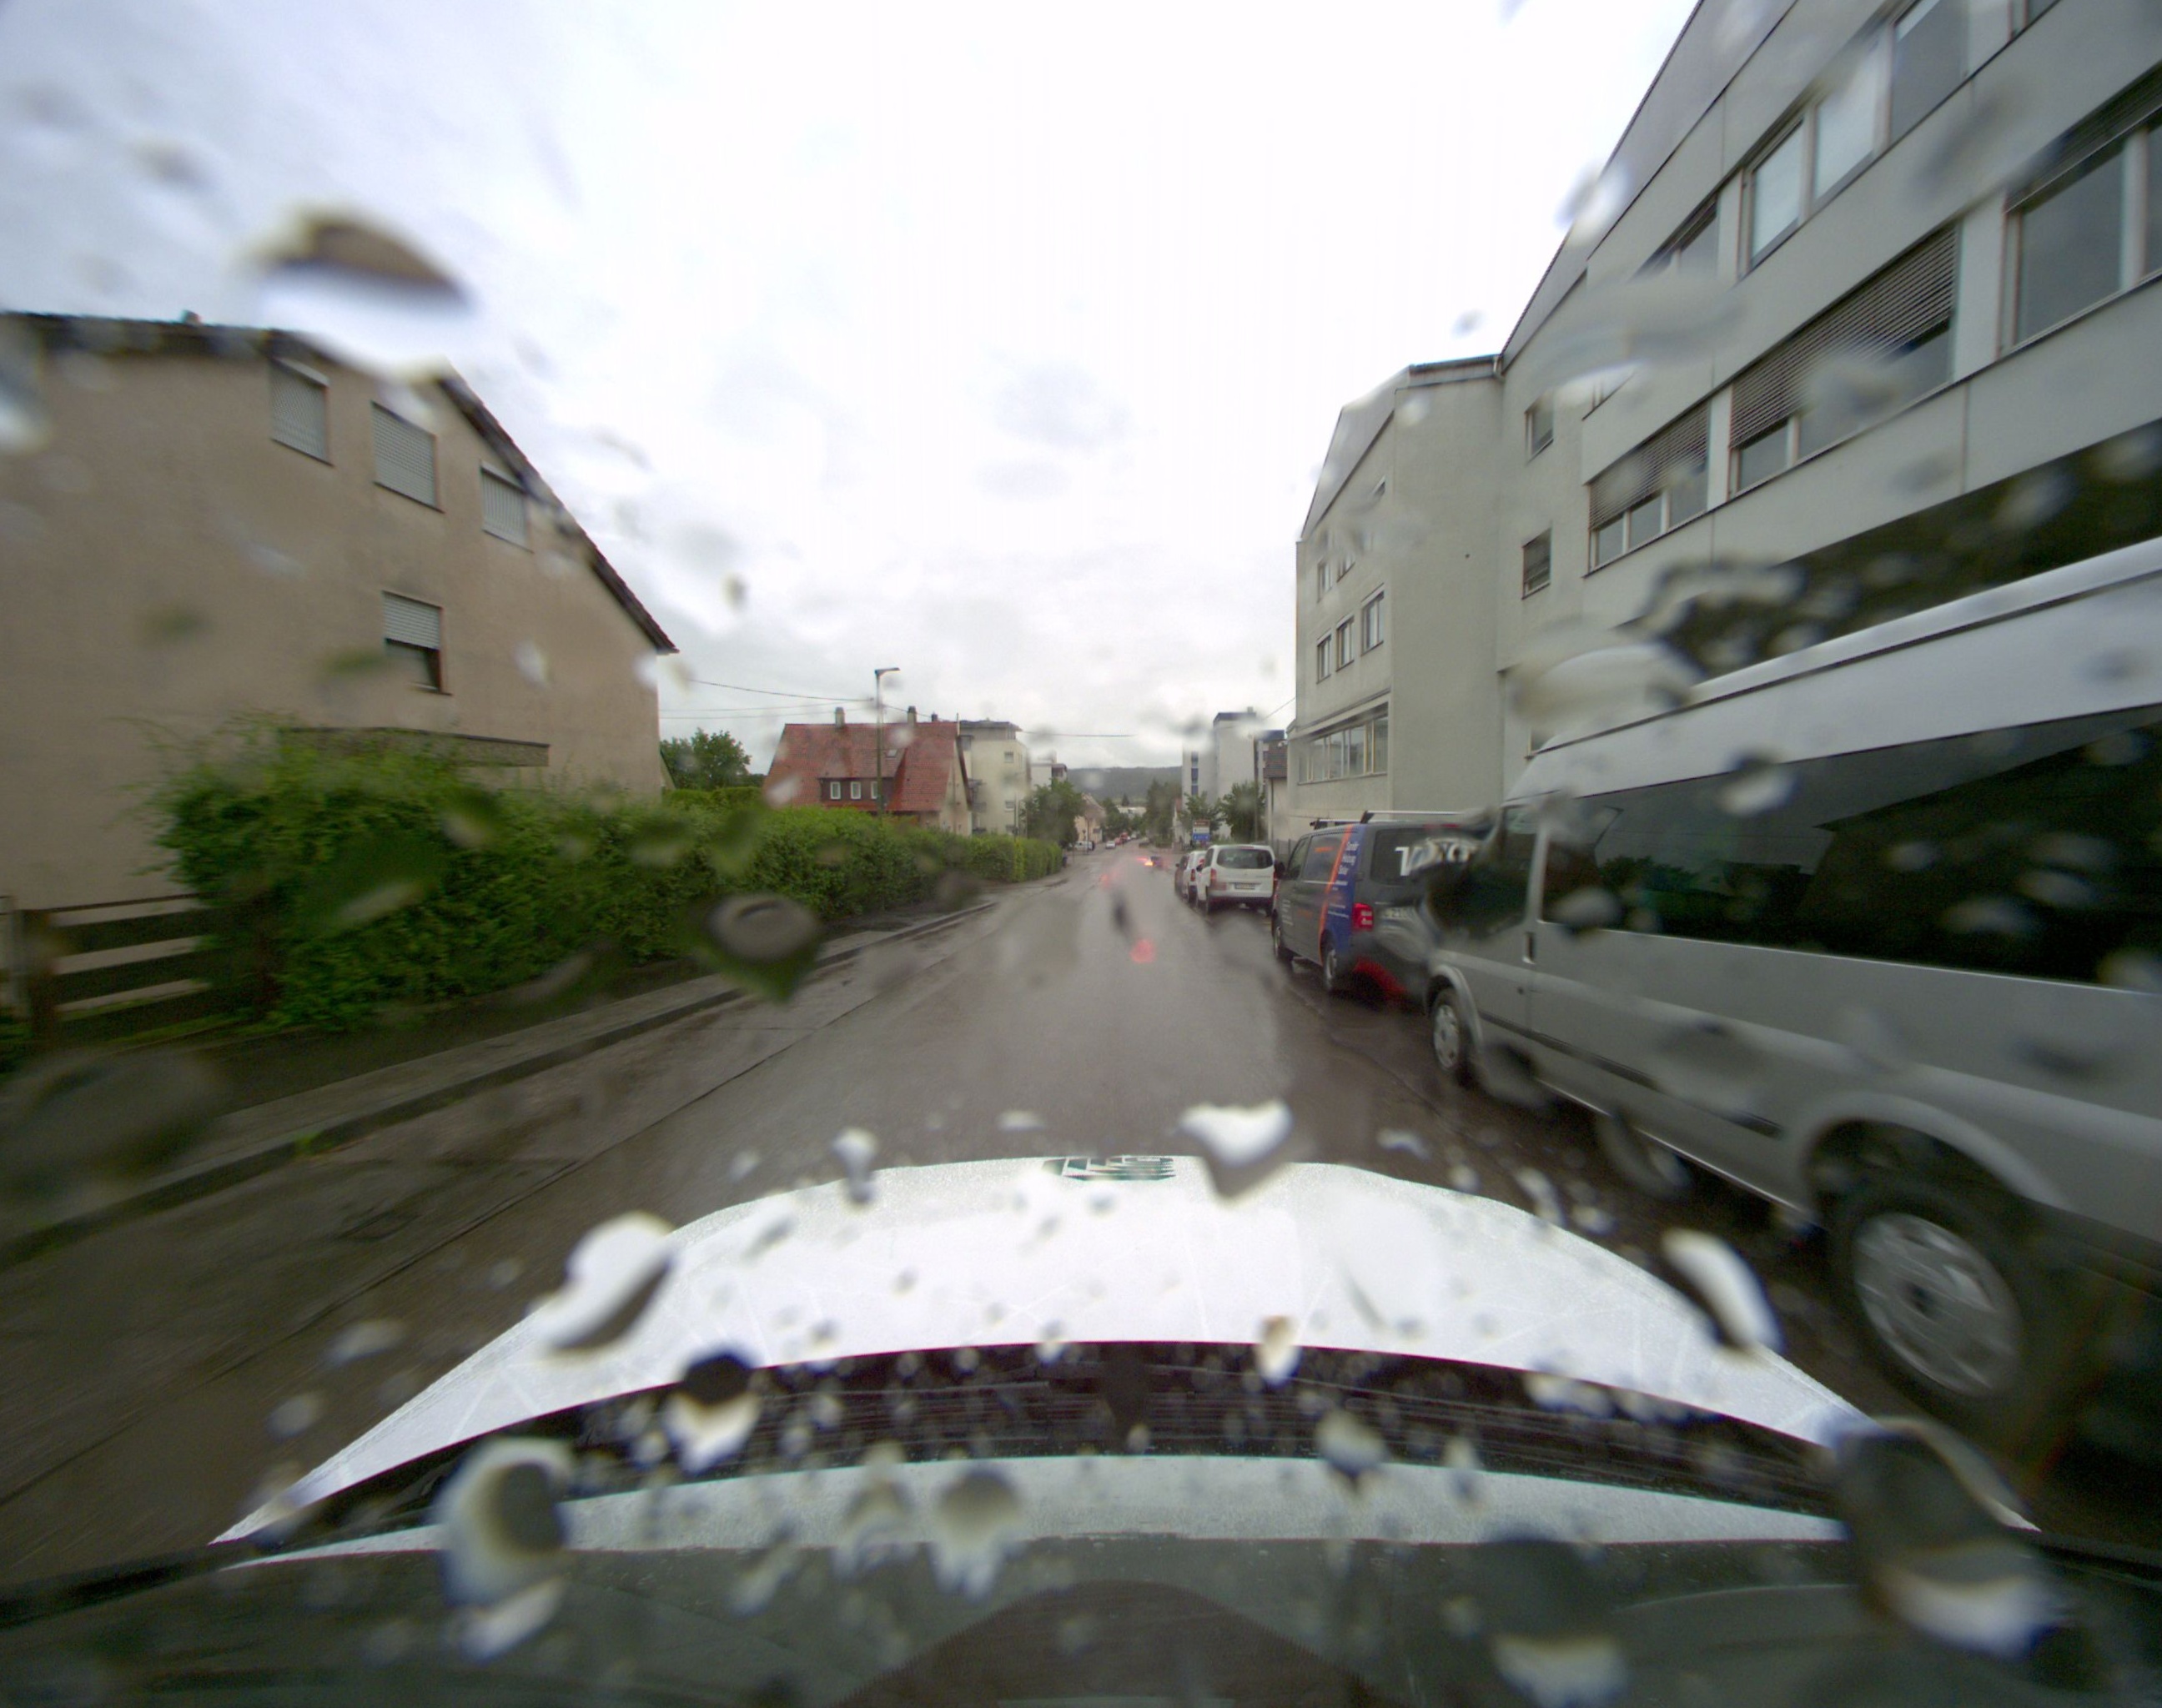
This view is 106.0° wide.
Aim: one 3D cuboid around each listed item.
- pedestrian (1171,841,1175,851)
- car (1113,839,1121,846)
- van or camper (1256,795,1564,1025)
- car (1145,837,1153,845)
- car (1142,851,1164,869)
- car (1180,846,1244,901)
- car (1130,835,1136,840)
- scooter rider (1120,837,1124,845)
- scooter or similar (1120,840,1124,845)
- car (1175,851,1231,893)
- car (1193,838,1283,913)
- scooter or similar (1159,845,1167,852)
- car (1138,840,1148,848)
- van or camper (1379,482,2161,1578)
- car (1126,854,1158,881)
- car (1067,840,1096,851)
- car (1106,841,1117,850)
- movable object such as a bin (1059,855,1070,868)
[{"bbox_3d":[15.527,-1.325,137.658,0.645,1.647,0.525,2,1,-3],"label":"pedestrian"},{"bbox_3d":[8.919,-2.902,202.767,1.893,1.558,4.197,-2,1,4],"label":"car"},{"bbox_3d":[3.639,0.509,10.242,1.985,2.113,5.207,-1,0,3],"label":"van or camper"},{"bbox_3d":[16.802,-3.238,201.406,1.893,1.745,4.197,-2,1,4],"label":"car"},{"bbox_3d":[7.397,0.572,84.030,1.986,1.683,4.002,-2,2,2],"label":"car"},{"bbox_3d":[4.646,0.654,29.455,1.870,1.833,4.494,-1,0,4],"label":"car"},{"bbox_3d":[16.213,-5.022,252.721,1.893,1.558,4.197,-2,1,4],"label":"car"},{"bbox_3d":[9.491,-3.012,187.459,0.749,1.795,0.673,-2,1,4],"label":"scooter rider"},{"bbox_3d":[9.514,-2.568,187.539,0.753,1.171,1.316,-2,1,5],"label":"scooter or similar"},{"bbox_3d":[5.117,0.724,34.777,1.985,1.644,4.964,-1,0,4],"label":"car"},{"bbox_3d":[4.433,0.554,23.782,1.985,1.935,4.981,-1,0,4],"label":"car"},{"bbox_3d":[13.710,-0.911,136.552,1.264,1.081,0.876,-2,1,-1],"label":"scooter or similar"},{"bbox_3d":[13.745,-2.216,179.610,2.136,1.589,4.133,-2,1,4],"label":"car"},{"bbox_3d":[3.316,0.329,3.915,1.985,2.243,5.445,-1,0,3],"label":"van or camper"},{"bbox_3d":[4.247,0.897,57.222,1.986,1.683,4.002,-2,2,2],"label":"car"},{"bbox_3d":[0.156,-1.598,146.622,4.864,1.835,1.979,-3,2,-35],"label":"car"},{"bbox_3d":[6.204,-1.802,166.369,1.984,1.625,4.197,-2,1,4],"label":"car"},{"bbox_3d":[-1.755,0.758,86.324,1.067,1.347,1.319,1,0,1],"label":"movable object such as a bin"}]
